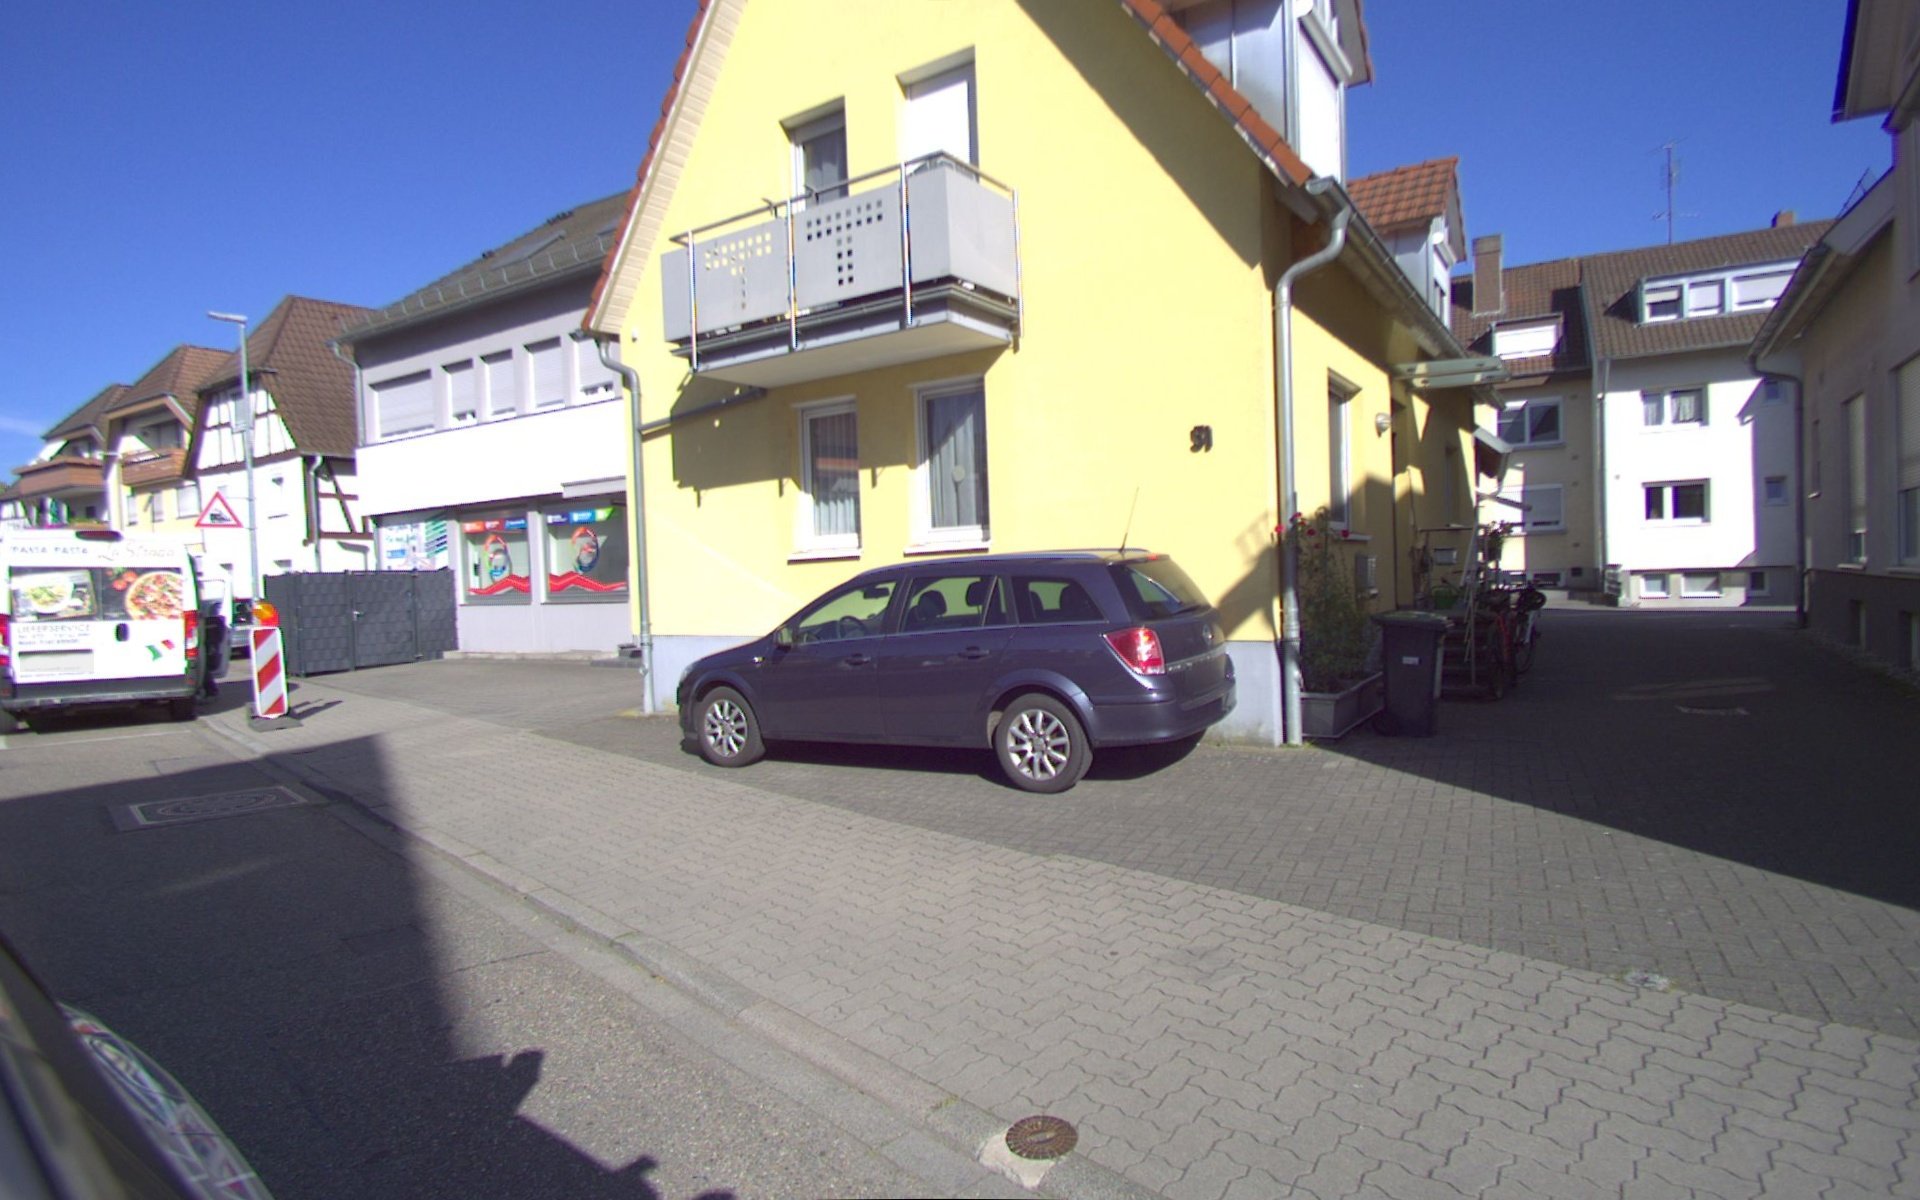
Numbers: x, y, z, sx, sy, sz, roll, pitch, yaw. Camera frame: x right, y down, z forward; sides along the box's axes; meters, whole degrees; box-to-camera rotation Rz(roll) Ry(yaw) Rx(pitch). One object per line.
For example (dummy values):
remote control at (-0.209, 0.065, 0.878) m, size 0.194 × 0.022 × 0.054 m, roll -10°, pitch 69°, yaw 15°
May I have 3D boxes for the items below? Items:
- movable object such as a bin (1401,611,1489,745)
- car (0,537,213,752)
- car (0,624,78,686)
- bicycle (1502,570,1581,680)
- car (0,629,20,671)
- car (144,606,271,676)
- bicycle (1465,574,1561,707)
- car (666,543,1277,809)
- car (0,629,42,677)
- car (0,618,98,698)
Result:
movable object such as a bin at (3.571, 0.561, 7.448) m, size 0.492 × 0.936 × 0.374 m, roll -2°, pitch 0°, yaw 37°
car at (-12.426, 0.542, 14.317) m, size 2.226 × 2.489 × 5.520 m, roll -3°, pitch 1°, yaw -44°
car at (-25.404, 1.457, 27.596) m, size 3.684 × 1.518 × 1.637 m, roll -2°, pitch 1°, yaw 43°
bicycle at (6.668, 0.247, 11.566) m, size 0.557 × 1.151 × 1.842 m, roll -2°, pitch 0°, yaw 36°
car at (-38.019, 1.954, 39.269) m, size 3.997 × 1.568 × 1.741 m, roll -2°, pitch 1°, yaw 40°
car at (-19.564, 1.034, 26.254) m, size 4.107 × 1.598 × 1.626 m, roll -2°, pitch 1°, yaw 39°
bicycle at (5.369, 0.342, 9.767) m, size 0.557 × 1.151 × 1.842 m, roll -2°, pitch 0°, yaw 36°
car at (-0.031, 0.444, 7.395) m, size 4.163 × 1.456 × 1.676 m, roll -2°, pitch 2°, yaw 32°
car at (-31.549, 1.736, 33.277) m, size 3.955 × 1.450 × 1.601 m, roll -2°, pitch 1°, yaw 42°
car at (-21.616, 1.304, 23.702) m, size 4.112 × 1.630 × 1.704 m, roll -2°, pitch 1°, yaw 43°
